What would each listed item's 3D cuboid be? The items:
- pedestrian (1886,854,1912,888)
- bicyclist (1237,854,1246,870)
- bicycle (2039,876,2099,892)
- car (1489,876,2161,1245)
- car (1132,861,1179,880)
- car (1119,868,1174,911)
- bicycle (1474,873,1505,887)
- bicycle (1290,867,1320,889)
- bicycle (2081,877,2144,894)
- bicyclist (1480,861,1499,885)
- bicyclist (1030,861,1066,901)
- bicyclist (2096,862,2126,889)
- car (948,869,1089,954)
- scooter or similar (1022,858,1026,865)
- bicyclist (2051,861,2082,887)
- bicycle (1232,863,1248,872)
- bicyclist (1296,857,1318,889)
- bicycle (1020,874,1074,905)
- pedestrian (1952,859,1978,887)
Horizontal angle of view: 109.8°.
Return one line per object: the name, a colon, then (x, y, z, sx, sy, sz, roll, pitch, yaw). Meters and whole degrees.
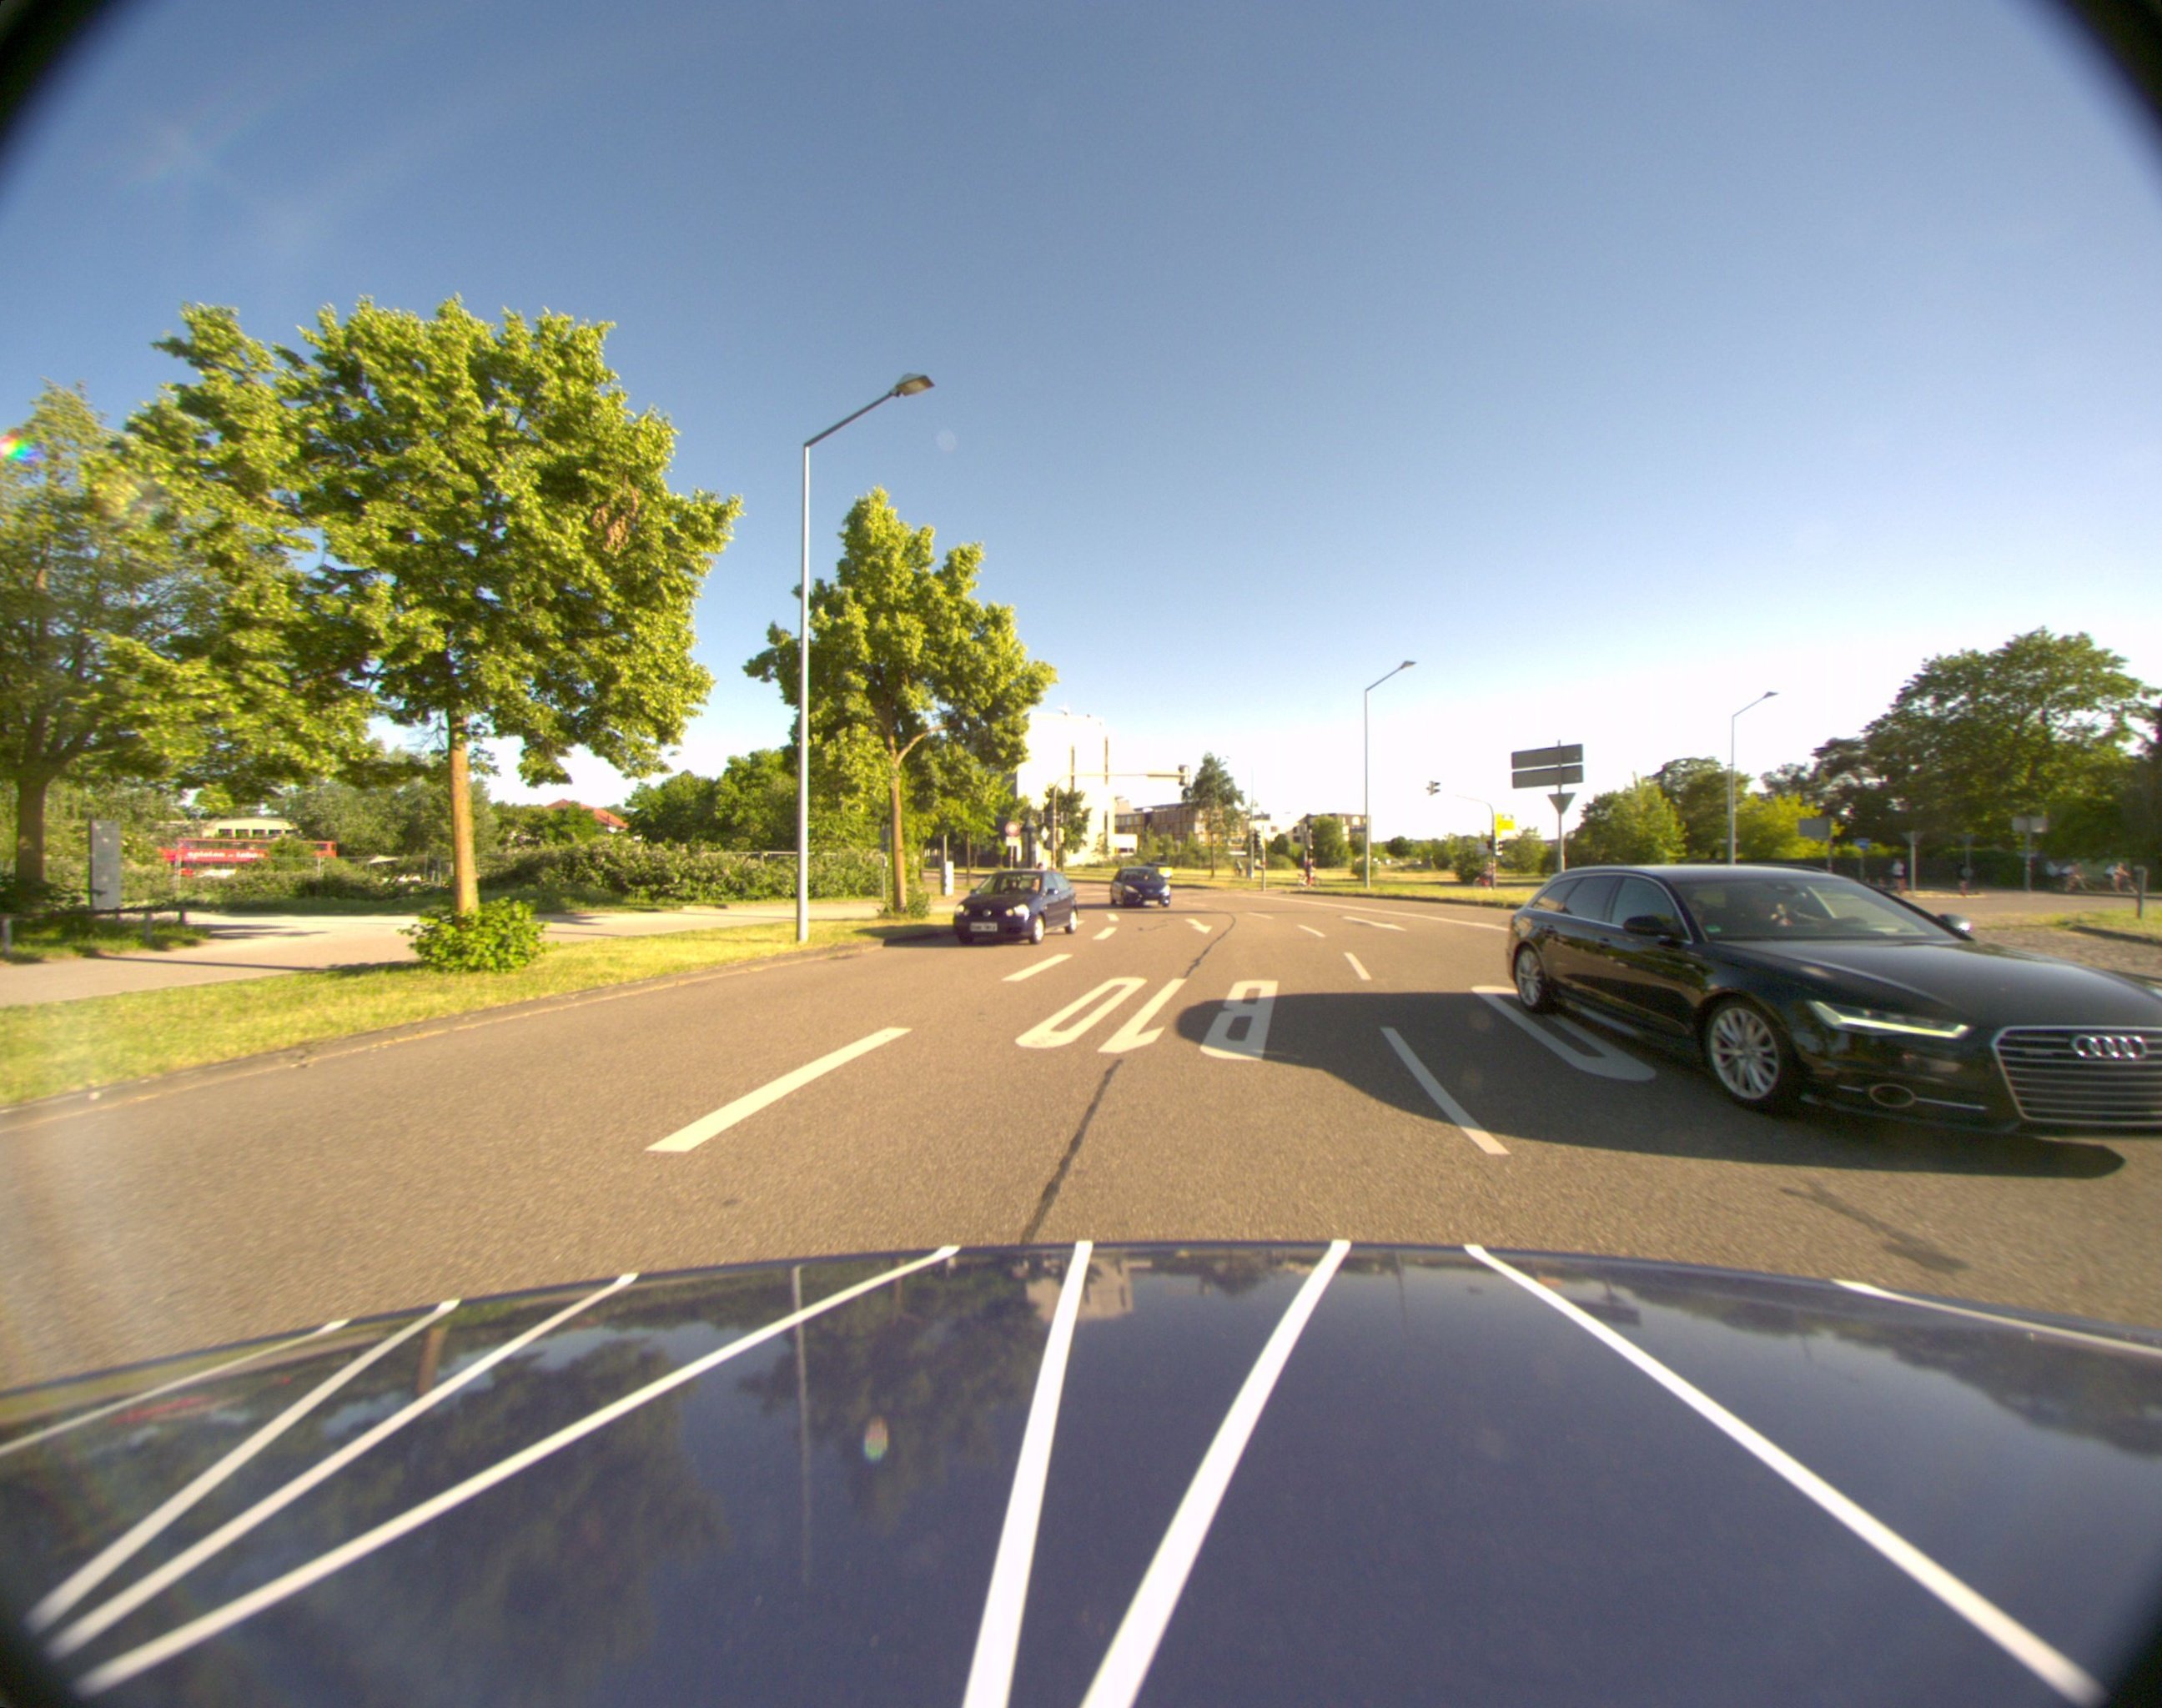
pedestrian: (48.587, 1.025, 45.144, 0.941, 1.994, 0.590, 0, 0, 33)
bicyclist: (15.191, 0.737, 71.953, 0.433, 1.555, 0.850, 0, 0, -23)
bicycle: (52.986, 1.601, 40.764, 1.884, 0.847, 0.618, 0, 0, 24)
car: (4.940, 0.945, 5.676, 1.795, 1.434, 5.021, -1, 0, 9)
car: (6.283, 1.366, 64.569, 2.012, 1.532, 4.316, 0, 0, -25)
car: (2.408, 1.288, 28.841, 1.757, 1.445, 4.000, -1, 0, 0)
bicycle: (25.549, 1.634, 47.491, 1.891, 0.847, 0.616, 0, 0, -21)
bicycle: (11.862, 1.257, 40.233, 1.658, 1.122, 0.702, -1, 2, -37)
bicycle: (53.636, 1.625, 39.515, 1.884, 0.847, 0.618, 0, 0, 24)
bicyclist: (25.501, 1.173, 47.465, 0.926, 1.508, 0.616, 0, 0, -21)
bicyclist: (-1.326, 1.073, 30.435, 0.873, 1.553, 1.090, 2, 1, 39)
bicyclist: (53.643, 1.107, 39.578, 0.717, 1.384, 0.618, 0, 0, 24)
car: (-1.147, 1.105, 16.266, 1.635, 1.459, 4.551, 0, 0, 14)
scooter or similar: (-8.516, 1.107, 113.638, 0.454, 1.104, 1.404, 0, 0, -14)
bicyclist: (52.902, 1.083, 40.802, 0.835, 1.384, 0.618, 0, 0, 24)
bicycle: (15.102, 1.311, 72.148, 0.492, 0.847, 1.885, 0, 0, -23)
bicyclist: (12.016, 0.987, 40.356, 0.944, 1.654, 0.702, -1, 2, -37)
bicycle: (-1.344, 1.401, 30.418, 0.873, 1.148, 2.222, 2, 1, 39)
pedestrian: (64.943, 1.374, 55.839, 0.899, 2.002, 0.819, 1, 1, 15)
